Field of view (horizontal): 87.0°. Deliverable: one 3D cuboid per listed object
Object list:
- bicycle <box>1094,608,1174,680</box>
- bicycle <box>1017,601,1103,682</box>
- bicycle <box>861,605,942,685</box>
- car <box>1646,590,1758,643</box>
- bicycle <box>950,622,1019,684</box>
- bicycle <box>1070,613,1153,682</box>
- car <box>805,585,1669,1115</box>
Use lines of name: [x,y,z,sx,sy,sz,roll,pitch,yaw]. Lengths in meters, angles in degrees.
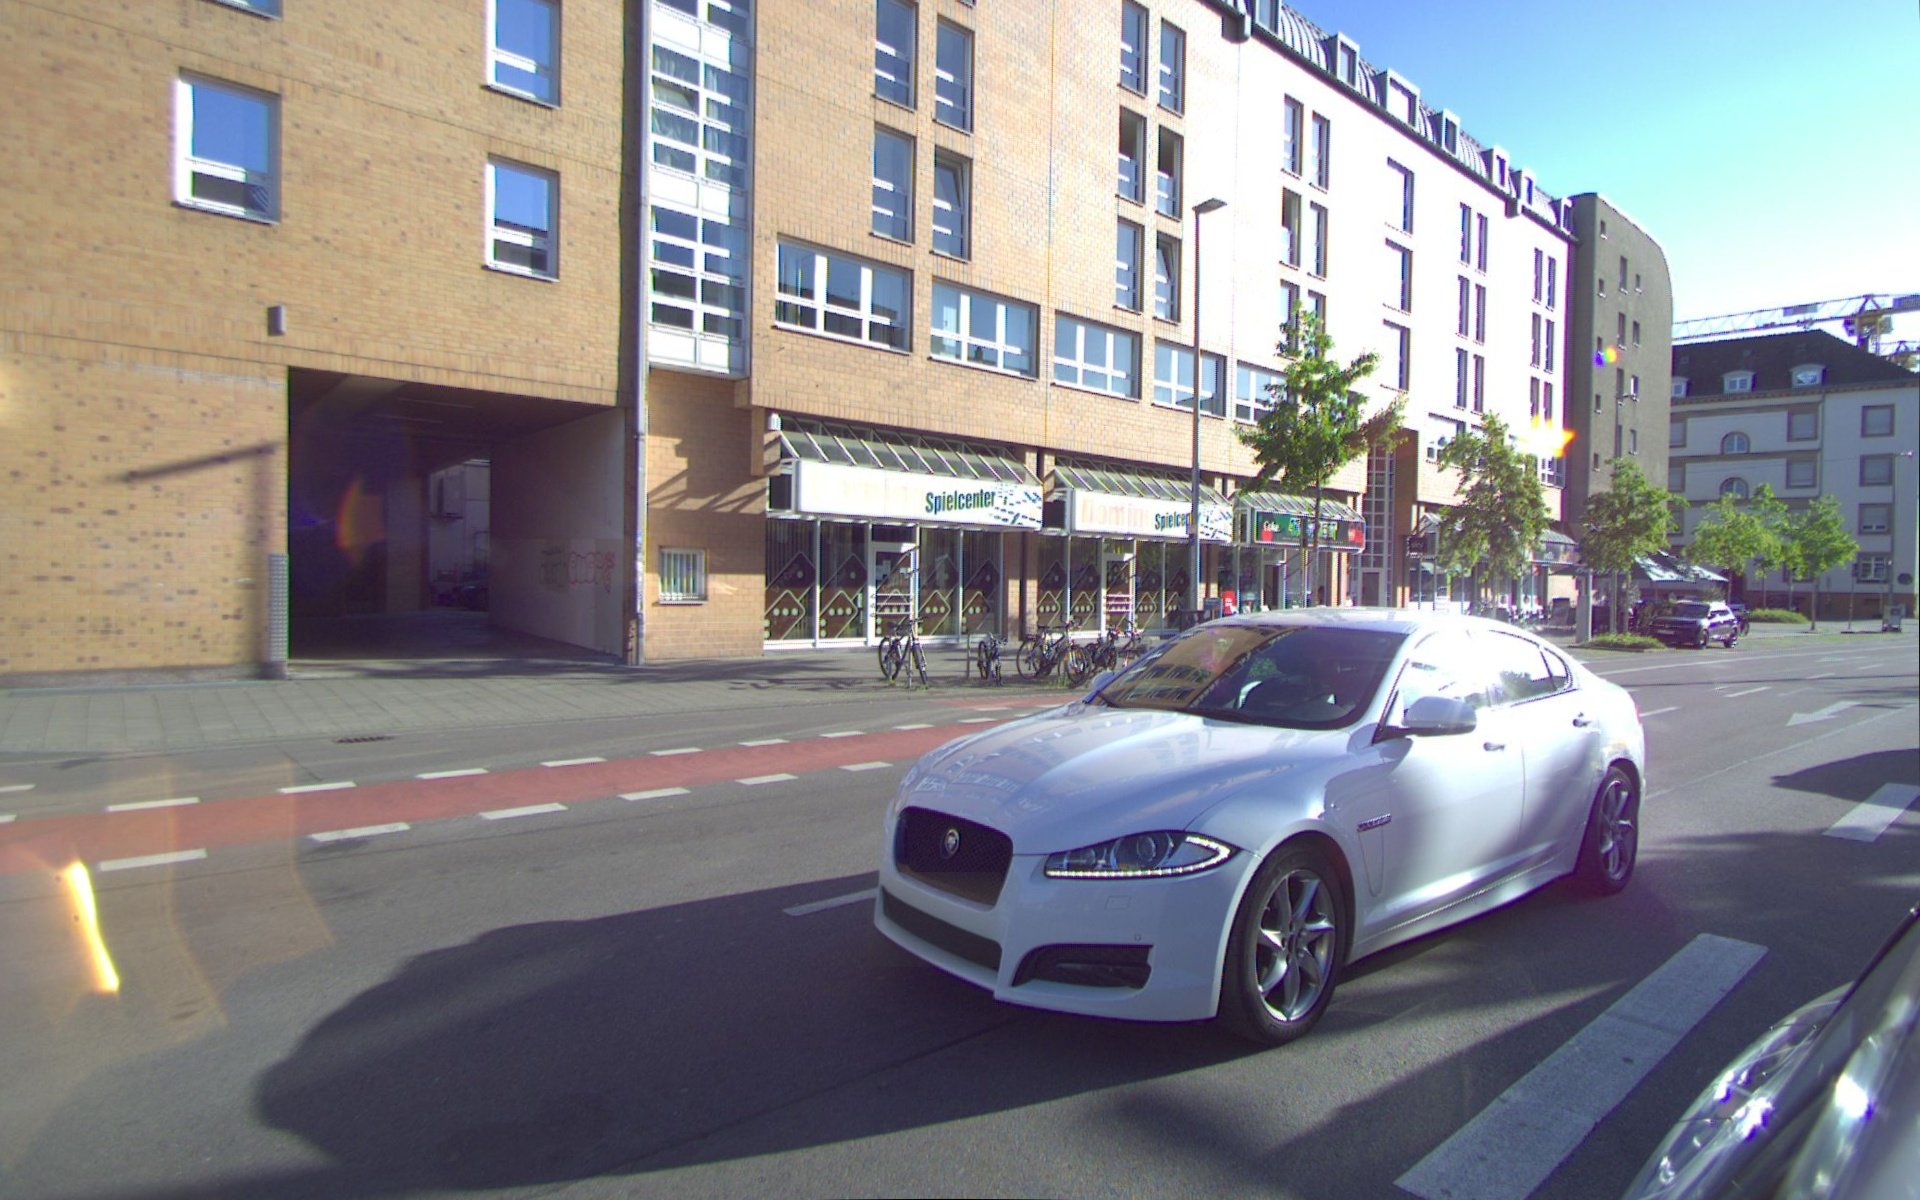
bicycle: [3.042,0.747,17.869,0.343,1.069,1.843,0,3,-26]
bicycle: [1.663,0.672,17.180,0.553,1.177,1.843,0,3,-26]
bicycle: [-0.971,0.687,16.242,0.423,1.089,1.776,-1,4,-35]
car: [25.935,0.554,35.342,3.921,1.659,1.782,0,3,-33]
bicycle: [0.381,0.855,16.946,0.359,0.842,1.779,0,3,-26]
bicycle: [2.616,0.796,17.637,0.440,0.997,1.843,0,3,-26]
car: [1.617,0.679,4.887,4.372,1.448,1.808,0,1,-39]
